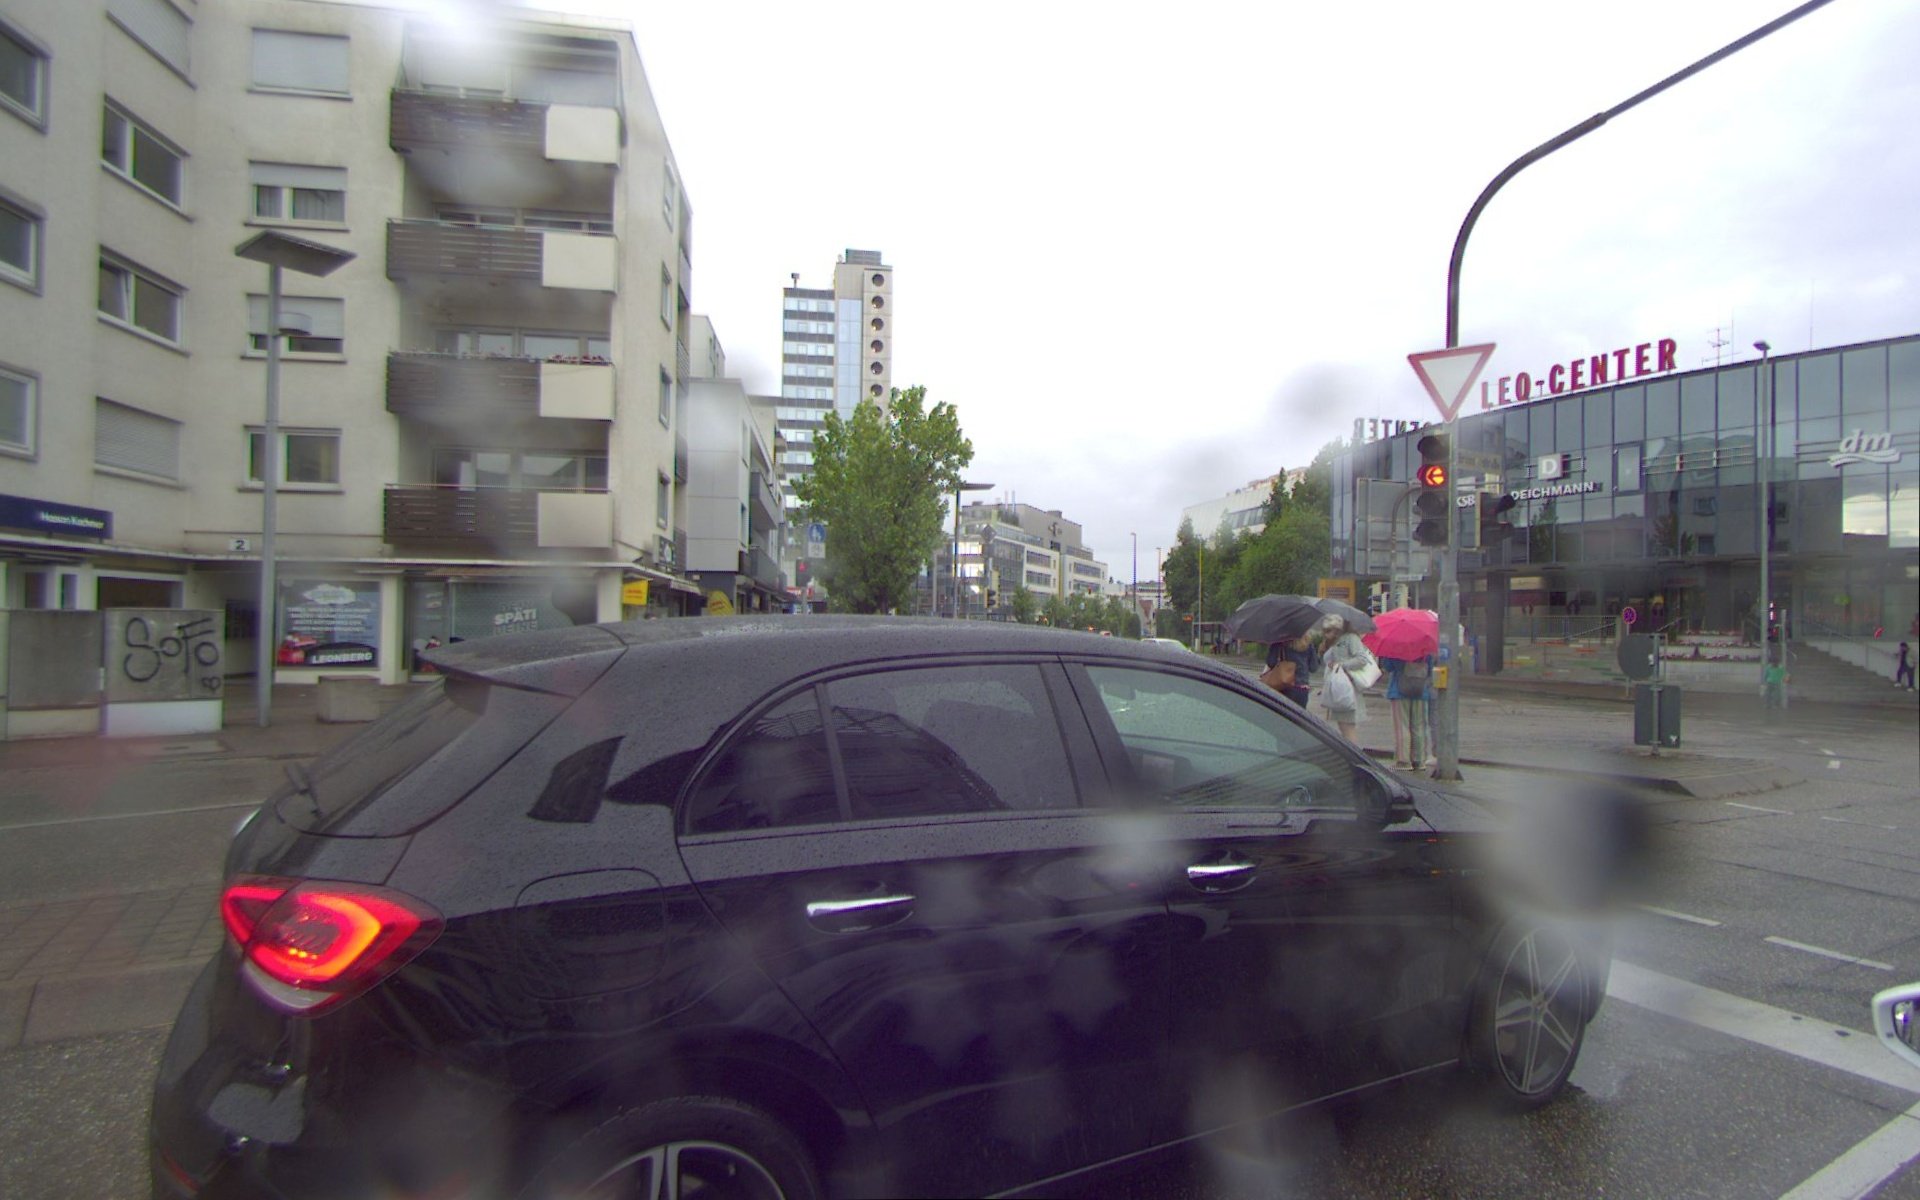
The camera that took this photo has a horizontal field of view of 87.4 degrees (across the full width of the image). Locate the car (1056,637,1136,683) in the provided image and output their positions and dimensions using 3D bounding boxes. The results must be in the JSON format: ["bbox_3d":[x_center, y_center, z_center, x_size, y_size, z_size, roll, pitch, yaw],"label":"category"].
[{"bbox_3d":[4.745,2.075,35.757,2.082,1.432,5.147,2,-2,0],"label":"car"}]

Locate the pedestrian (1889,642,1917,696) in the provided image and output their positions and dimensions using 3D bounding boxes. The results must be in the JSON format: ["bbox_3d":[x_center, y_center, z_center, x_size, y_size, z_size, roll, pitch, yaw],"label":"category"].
[{"bbox_3d":[34.428,2.512,36.672,0.589,1.933,0.651,2,-1,-37],"label":"pedestrian"}]

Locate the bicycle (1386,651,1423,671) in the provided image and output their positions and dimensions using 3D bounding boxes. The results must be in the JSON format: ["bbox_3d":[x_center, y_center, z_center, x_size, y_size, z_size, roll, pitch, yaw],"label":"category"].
[{"bbox_3d":[23.691,3.256,53.546,1.821,0.964,0.535,-1,0,-8],"label":"bicycle"}]

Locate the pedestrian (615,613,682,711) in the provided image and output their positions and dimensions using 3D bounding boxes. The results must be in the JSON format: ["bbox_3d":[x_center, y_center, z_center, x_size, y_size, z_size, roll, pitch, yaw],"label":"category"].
[{"bbox_3d":[-5.253,1.034,16.954,0.904,1.606,0.651,2,-2,-33],"label":"pedestrian"}]

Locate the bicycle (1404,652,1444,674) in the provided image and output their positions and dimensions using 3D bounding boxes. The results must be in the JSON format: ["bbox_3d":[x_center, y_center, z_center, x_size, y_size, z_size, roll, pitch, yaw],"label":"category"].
[{"bbox_3d":[24.075,3.247,52.138,1.822,1.056,0.646,-1,-2,-12],"label":"bicycle"}]

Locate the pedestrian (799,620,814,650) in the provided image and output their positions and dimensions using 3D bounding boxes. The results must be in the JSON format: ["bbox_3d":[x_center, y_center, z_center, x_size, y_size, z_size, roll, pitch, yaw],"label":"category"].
[{"bbox_3d":[-9.641,2.211,62.936,0.859,1.835,0.923,1,-1,-10],"label":"pedestrian"}]

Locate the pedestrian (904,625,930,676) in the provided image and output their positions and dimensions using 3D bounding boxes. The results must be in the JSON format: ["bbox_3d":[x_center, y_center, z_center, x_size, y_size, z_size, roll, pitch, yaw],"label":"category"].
[{"bbox_3d":[-1.427,1.680,33.391,0.799,1.677,0.714,1,-2,-3],"label":"pedestrian"}]

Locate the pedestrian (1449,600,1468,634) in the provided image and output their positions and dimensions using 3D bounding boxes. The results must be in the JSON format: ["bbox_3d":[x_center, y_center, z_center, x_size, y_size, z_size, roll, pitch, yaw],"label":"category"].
[{"bbox_3d":[25.935,0.891,52.275,0.642,1.736,0.599,2,0,-6],"label":"pedestrian"}]

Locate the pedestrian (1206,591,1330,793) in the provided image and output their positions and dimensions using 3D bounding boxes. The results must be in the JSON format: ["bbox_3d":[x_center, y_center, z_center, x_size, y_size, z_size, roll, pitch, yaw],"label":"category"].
[{"bbox_3d":[2.884,0.822,9.377,0.937,1.759,0.835,0,-2,30],"label":"pedestrian"}]

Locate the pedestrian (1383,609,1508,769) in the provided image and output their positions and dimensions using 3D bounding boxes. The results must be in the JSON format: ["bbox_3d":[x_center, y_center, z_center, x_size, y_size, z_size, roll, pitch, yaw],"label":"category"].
[{"bbox_3d":[5.479,0.972,11.356,0.906,1.699,0.931,2,-2,-30],"label":"pedestrian"}]

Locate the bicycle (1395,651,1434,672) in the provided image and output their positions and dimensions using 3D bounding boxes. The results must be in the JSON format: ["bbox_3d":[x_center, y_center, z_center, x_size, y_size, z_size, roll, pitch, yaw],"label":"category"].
[{"bbox_3d":[23.922,3.252,52.881,1.822,1.047,0.628,-1,-1,-12],"label":"bicycle"}]

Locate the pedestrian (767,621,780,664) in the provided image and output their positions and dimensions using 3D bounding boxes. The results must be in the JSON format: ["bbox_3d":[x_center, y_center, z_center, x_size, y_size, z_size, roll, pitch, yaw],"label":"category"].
[{"bbox_3d":[-7.594,1.739,40.901,0.441,1.746,0.499,1,-2,-12],"label":"pedestrian"}]

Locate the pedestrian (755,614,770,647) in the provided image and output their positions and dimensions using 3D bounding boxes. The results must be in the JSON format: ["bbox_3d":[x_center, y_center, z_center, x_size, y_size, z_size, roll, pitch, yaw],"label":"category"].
[{"bbox_3d":[-12.298,1.909,62.580,0.859,2.040,0.923,1,-1,-10],"label":"pedestrian"}]

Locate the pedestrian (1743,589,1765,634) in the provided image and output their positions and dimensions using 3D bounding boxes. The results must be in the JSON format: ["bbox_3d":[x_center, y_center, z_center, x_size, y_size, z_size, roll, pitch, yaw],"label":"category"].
[{"bbox_3d":[33.183,0.489,41.959,0.625,1.831,0.501,2,0,43],"label":"pedestrian"}]

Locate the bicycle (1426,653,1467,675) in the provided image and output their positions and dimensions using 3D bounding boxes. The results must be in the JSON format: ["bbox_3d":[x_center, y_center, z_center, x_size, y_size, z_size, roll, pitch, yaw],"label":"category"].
[{"bbox_3d":[24.475,3.210,50.514,1.822,1.036,0.631,0,-2,-12],"label":"bicycle"}]

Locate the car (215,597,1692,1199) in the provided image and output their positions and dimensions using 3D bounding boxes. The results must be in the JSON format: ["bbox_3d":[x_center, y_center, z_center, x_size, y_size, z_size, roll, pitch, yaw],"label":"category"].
[{"bbox_3d":[0.341,0.784,3.065,4.048,1.501,1.654,1,1,-32],"label":"car"}]

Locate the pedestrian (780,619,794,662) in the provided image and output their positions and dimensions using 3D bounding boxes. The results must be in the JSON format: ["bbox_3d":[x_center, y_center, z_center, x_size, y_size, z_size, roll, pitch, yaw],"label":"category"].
[{"bbox_3d":[-7.476,1.753,43.457,0.557,1.817,0.491,1,-2,-7],"label":"pedestrian"}]

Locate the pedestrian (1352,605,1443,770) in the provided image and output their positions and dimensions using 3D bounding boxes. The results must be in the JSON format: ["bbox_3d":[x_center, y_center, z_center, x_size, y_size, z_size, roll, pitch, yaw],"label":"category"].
[{"bbox_3d":[4.734,0.929,10.912,0.790,1.707,0.674,1,-2,14],"label":"pedestrian"}]

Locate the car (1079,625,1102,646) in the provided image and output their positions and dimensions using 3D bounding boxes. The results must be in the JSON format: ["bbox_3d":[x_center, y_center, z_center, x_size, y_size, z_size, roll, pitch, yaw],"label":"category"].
[{"bbox_3d":[12.486,3.362,96.194,2.008,1.921,4.141,1,-1,6],"label":"car"}]

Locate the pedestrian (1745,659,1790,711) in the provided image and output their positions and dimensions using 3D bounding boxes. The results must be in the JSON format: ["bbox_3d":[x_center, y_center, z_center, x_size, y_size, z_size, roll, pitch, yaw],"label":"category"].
[{"bbox_3d":[26.683,2.786,33.188,0.799,1.644,0.945,2,-2,-30],"label":"pedestrian"}]

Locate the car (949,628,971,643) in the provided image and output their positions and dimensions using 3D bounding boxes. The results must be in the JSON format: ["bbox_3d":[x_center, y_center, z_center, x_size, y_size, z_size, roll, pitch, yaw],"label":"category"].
[{"bbox_3d":[-0.013,3.362,94.765,1.414,1.314,3.770,2,-1,-11],"label":"car"}]

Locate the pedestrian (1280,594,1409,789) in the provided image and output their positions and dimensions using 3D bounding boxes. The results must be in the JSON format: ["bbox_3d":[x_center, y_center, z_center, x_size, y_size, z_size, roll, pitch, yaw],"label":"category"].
[{"bbox_3d":[3.725,0.859,9.825,0.843,1.767,1.139,1,-2,3],"label":"pedestrian"}]

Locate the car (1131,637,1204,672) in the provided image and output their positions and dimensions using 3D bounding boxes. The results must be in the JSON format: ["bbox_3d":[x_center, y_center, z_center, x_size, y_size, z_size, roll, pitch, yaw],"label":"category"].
[{"bbox_3d":[9.689,2.524,47.208,1.717,1.460,3.980,2,-1,-15],"label":"car"}]
